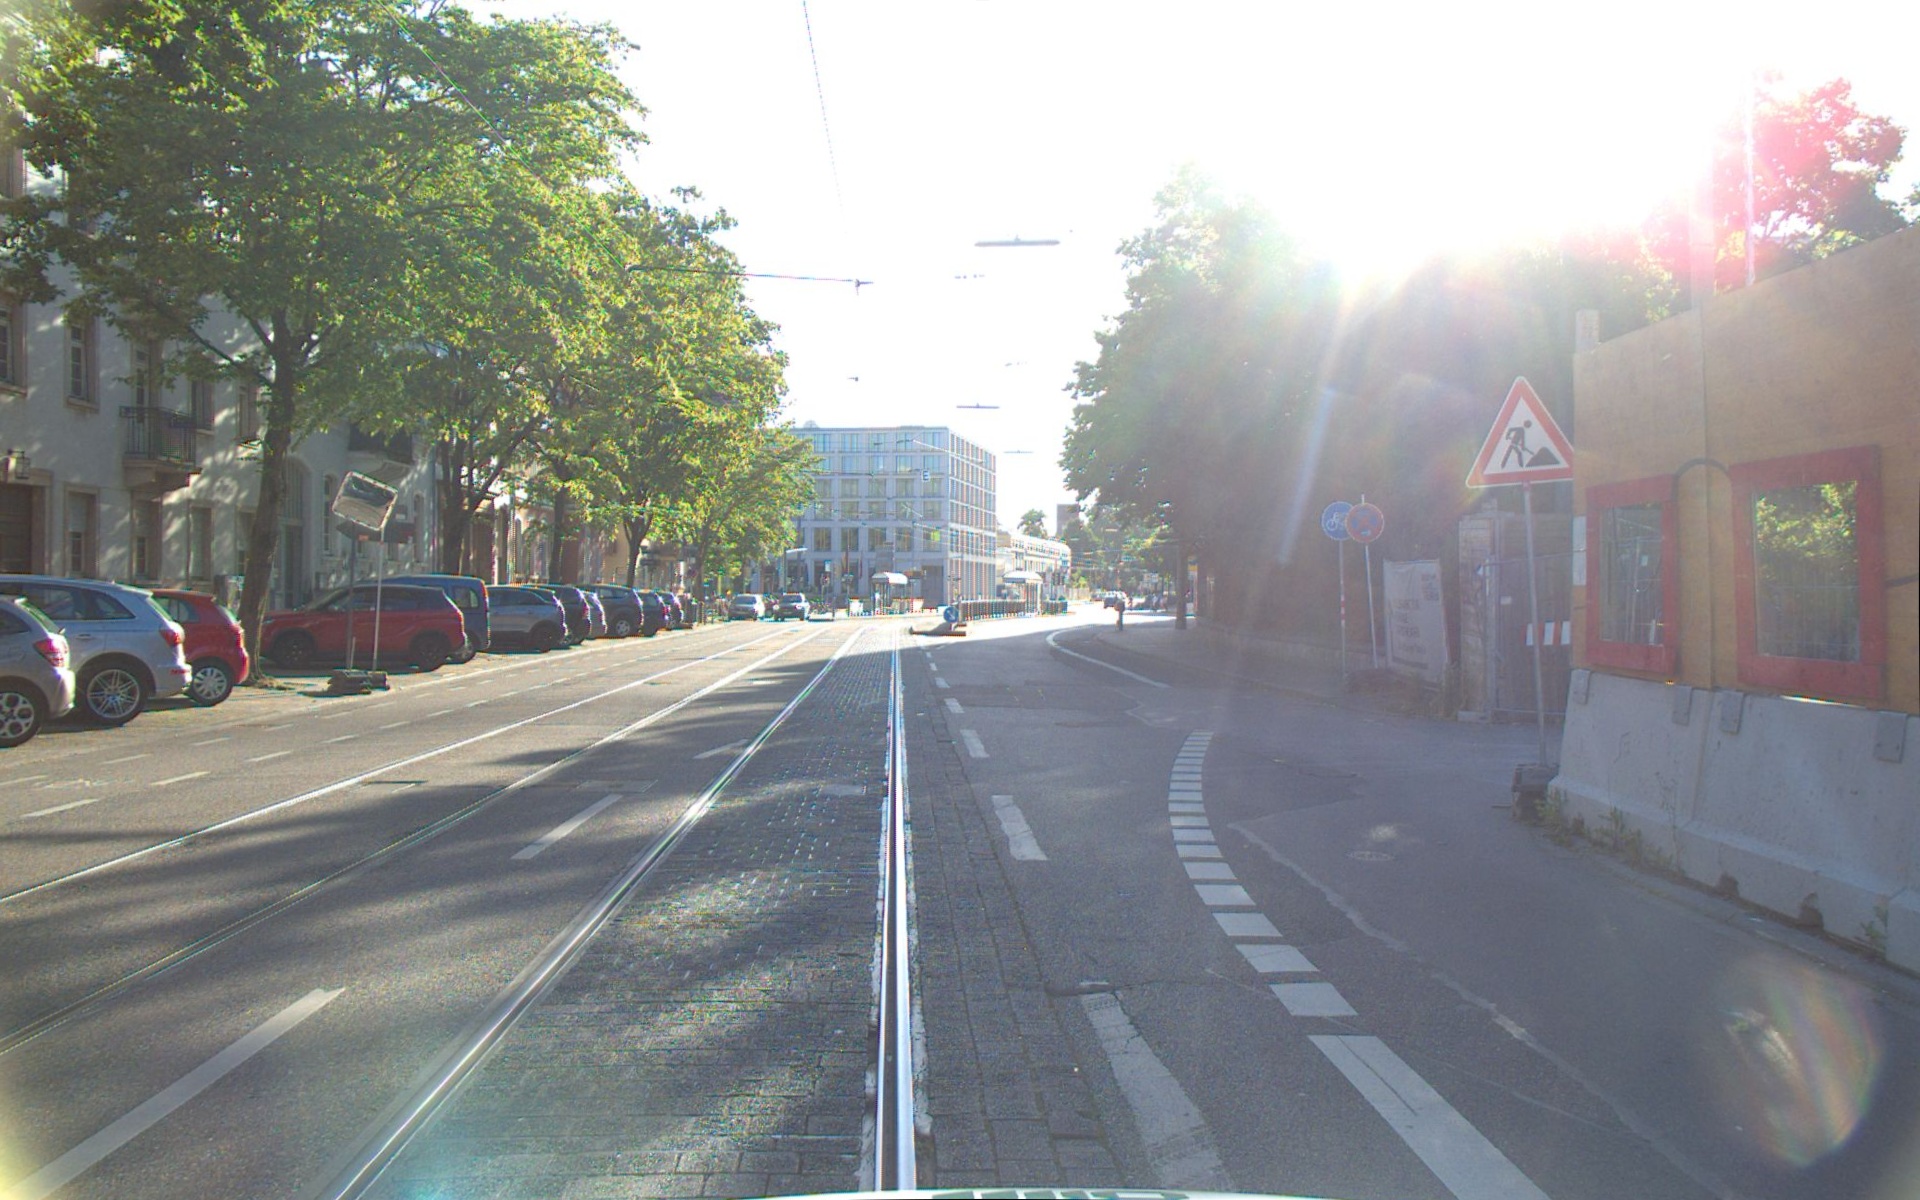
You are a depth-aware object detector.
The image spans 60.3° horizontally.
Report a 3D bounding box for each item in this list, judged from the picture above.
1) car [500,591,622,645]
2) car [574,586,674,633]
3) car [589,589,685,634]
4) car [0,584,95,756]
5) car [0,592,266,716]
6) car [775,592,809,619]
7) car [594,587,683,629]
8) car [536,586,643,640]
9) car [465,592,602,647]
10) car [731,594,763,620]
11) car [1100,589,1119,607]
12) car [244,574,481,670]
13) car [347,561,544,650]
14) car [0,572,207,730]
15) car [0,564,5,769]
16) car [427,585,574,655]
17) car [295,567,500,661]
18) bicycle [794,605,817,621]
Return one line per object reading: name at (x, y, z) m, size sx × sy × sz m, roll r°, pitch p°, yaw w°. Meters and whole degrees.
car at (-11.482, 0.499, 47.648) m, size 3.229 × 1.510 × 1.459 m, roll 0°, pitch 0°, yaw -25°
car at (-11.821, 0.320, 58.176) m, size 3.229 × 1.613 × 1.459 m, roll 0°, pitch 0°, yaw -25°
car at (-11.772, 0.400, 60.288) m, size 3.229 × 1.613 × 1.459 m, roll 0°, pitch 0°, yaw -25°
car at (-10.654, 0.685, 16.383) m, size 3.526 × 1.691 × 1.716 m, roll 0°, pitch 0°, yaw -36°
car at (-11.402, 0.670, 22.159) m, size 3.647 × 1.554 × 1.464 m, roll 0°, pitch 0°, yaw -38°
car at (-9.947, 0.308, 98.133) m, size 1.526 × 1.557 × 4.001 m, roll 0°, pitch 0°, yaw 2°
car at (-12.752, 0.316, 65.551) m, size 3.229 × 1.613 × 1.459 m, roll 0°, pitch 0°, yaw -25°
car at (-12.249, 0.410, 54.688) m, size 3.229 × 1.728 × 1.459 m, roll 0°, pitch 0°, yaw -25°
car at (-11.539, 0.514, 44.783) m, size 3.337 × 1.444 × 1.391 m, roll 0°, pitch 0°, yaw -30°
car at (-12.655, 0.403, 98.331) m, size 1.541 × 1.516 × 3.998 m, roll 0°, pitch 0°, yaw -2°
car at (17.277, -0.290, 191.598) m, size 1.951 × 2.049 × 4.004 m, roll 0°, pitch 0°, yaw 9°
car at (-11.535, 0.410, 31.991) m, size 4.115 × 1.751 × 1.568 m, roll 1°, pitch 0°, yaw -30°
car at (-12.908, 0.136, 41.732) m, size 4.349 × 2.155 × 2.161 m, roll 0°, pitch 0°, yaw -5°
car at (-10.881, 0.558, 19.209) m, size 3.647 × 1.751 × 1.590 m, roll 0°, pitch 0°, yaw -38°
car at (-10.101, 0.573, 13.701) m, size 3.647 × 1.751 × 1.590 m, roll 0°, pitch 0°, yaw -38°
car at (-11.590, 0.496, 41.739) m, size 3.337 × 1.727 × 1.391 m, roll 0°, pitch 0°, yaw -30°
car at (-11.894, 0.308, 35.044) m, size 3.791 × 1.864 × 1.713 m, roll 2°, pitch -1°, yaw -33°
bicycle at (-12.355, 1.028, 131.977) m, size 1.761 × 1.245 × 0.597 m, roll 0°, pitch 0°, yaw -11°
